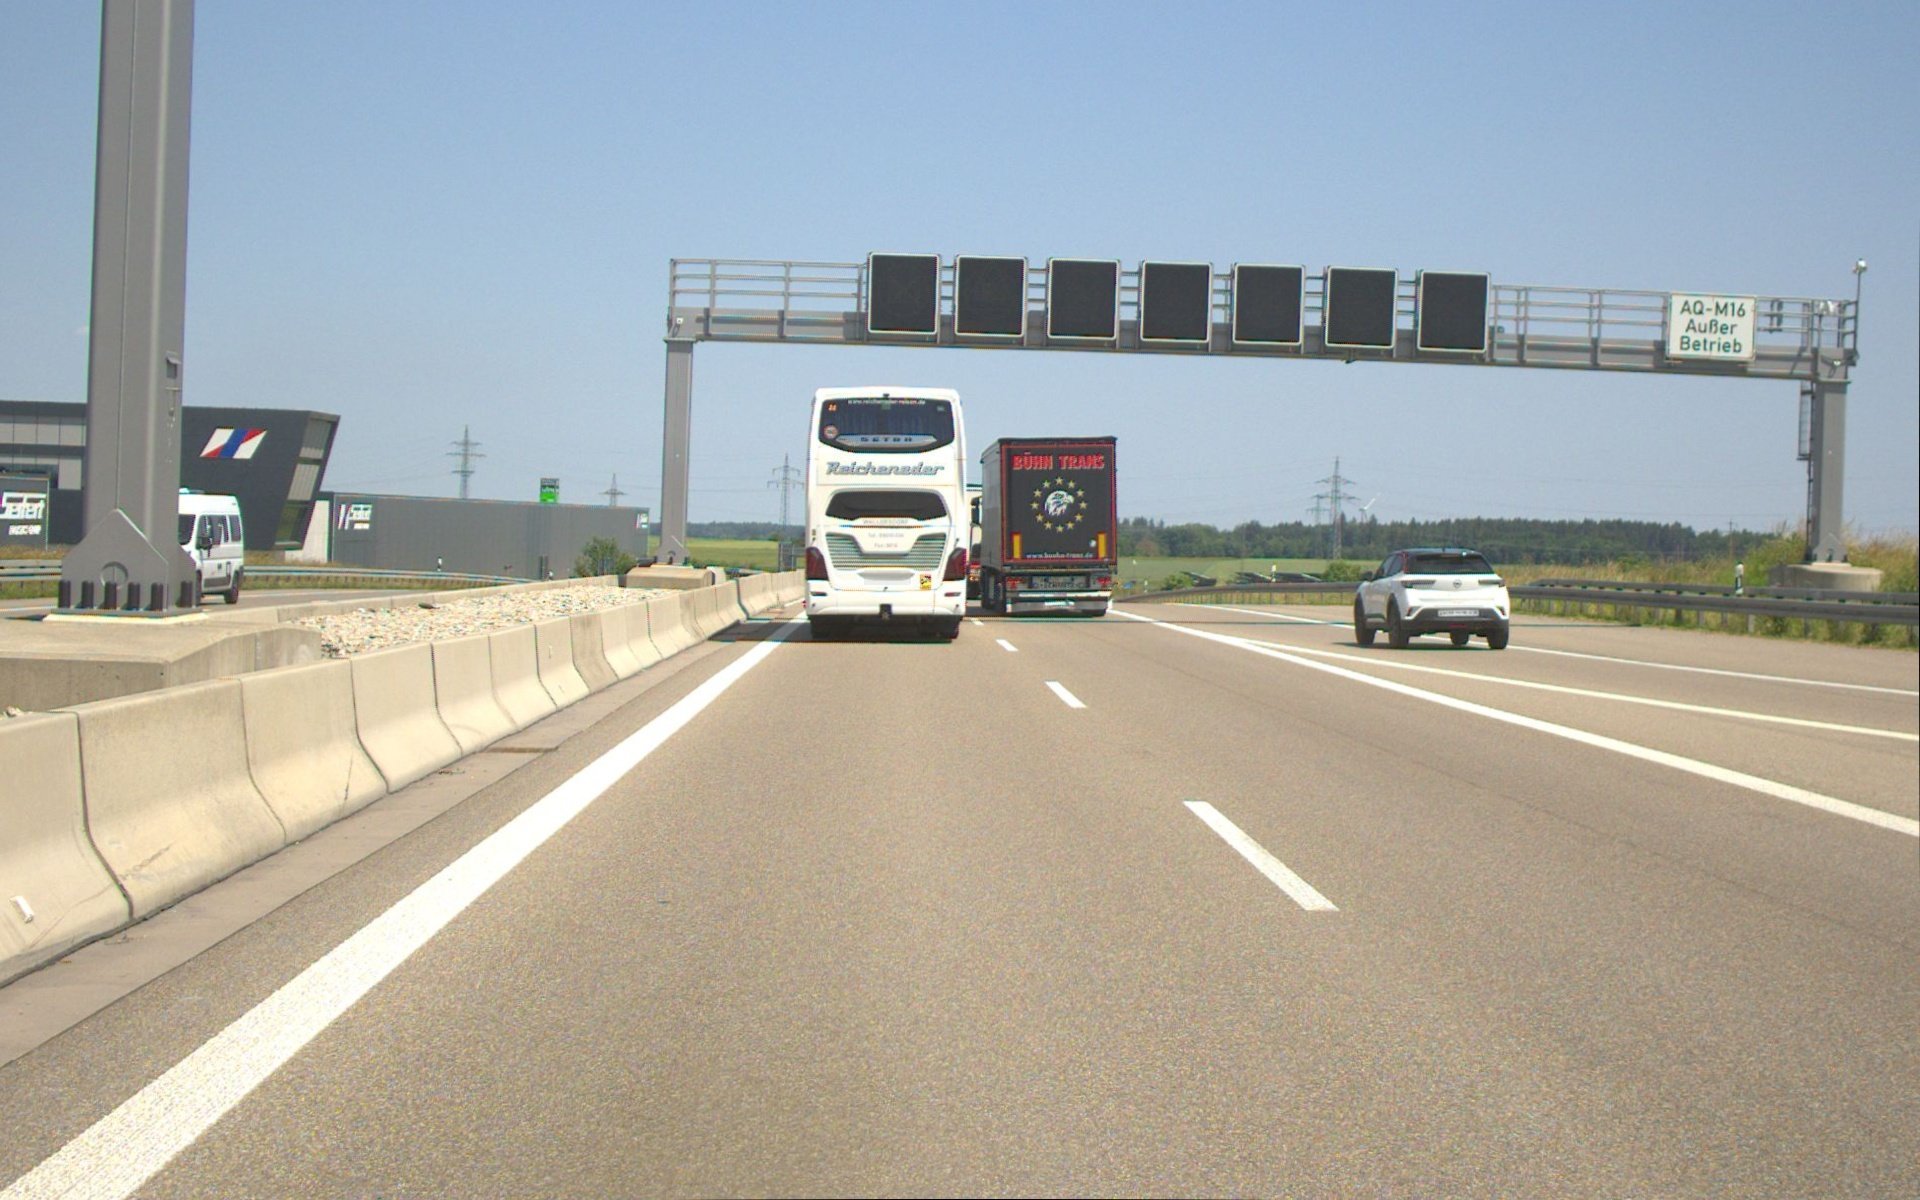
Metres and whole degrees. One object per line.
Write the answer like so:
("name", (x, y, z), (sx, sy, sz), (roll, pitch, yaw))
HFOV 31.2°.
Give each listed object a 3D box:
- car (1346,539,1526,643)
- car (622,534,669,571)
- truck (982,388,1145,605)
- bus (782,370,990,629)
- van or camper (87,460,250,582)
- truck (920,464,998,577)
("car", (7.384, -0.169, 53.748), (1.890, 1.524, 4.263), (1, 1, -5))
("car", (-17.359, -2.642, 189.731), (2.147, 2.007, 5.382), (1, 1, -1))
("truck", (2.280, -2.228, 81.198), (3.379, 4.448, 13.566), (2, -1, 0))
("bus", (-1.383, -1.705, 57.879), (2.980, 3.961, 9.107), (1, 2, -4))
("van or camper", (-17.449, -1.734, 76.128), (2.319, 2.549, 6.316), (1, 1, -2))
("truck", (-0.071, -2.744, 119.388), (2.437, 3.776, 6.494), (1, 1, -2))
